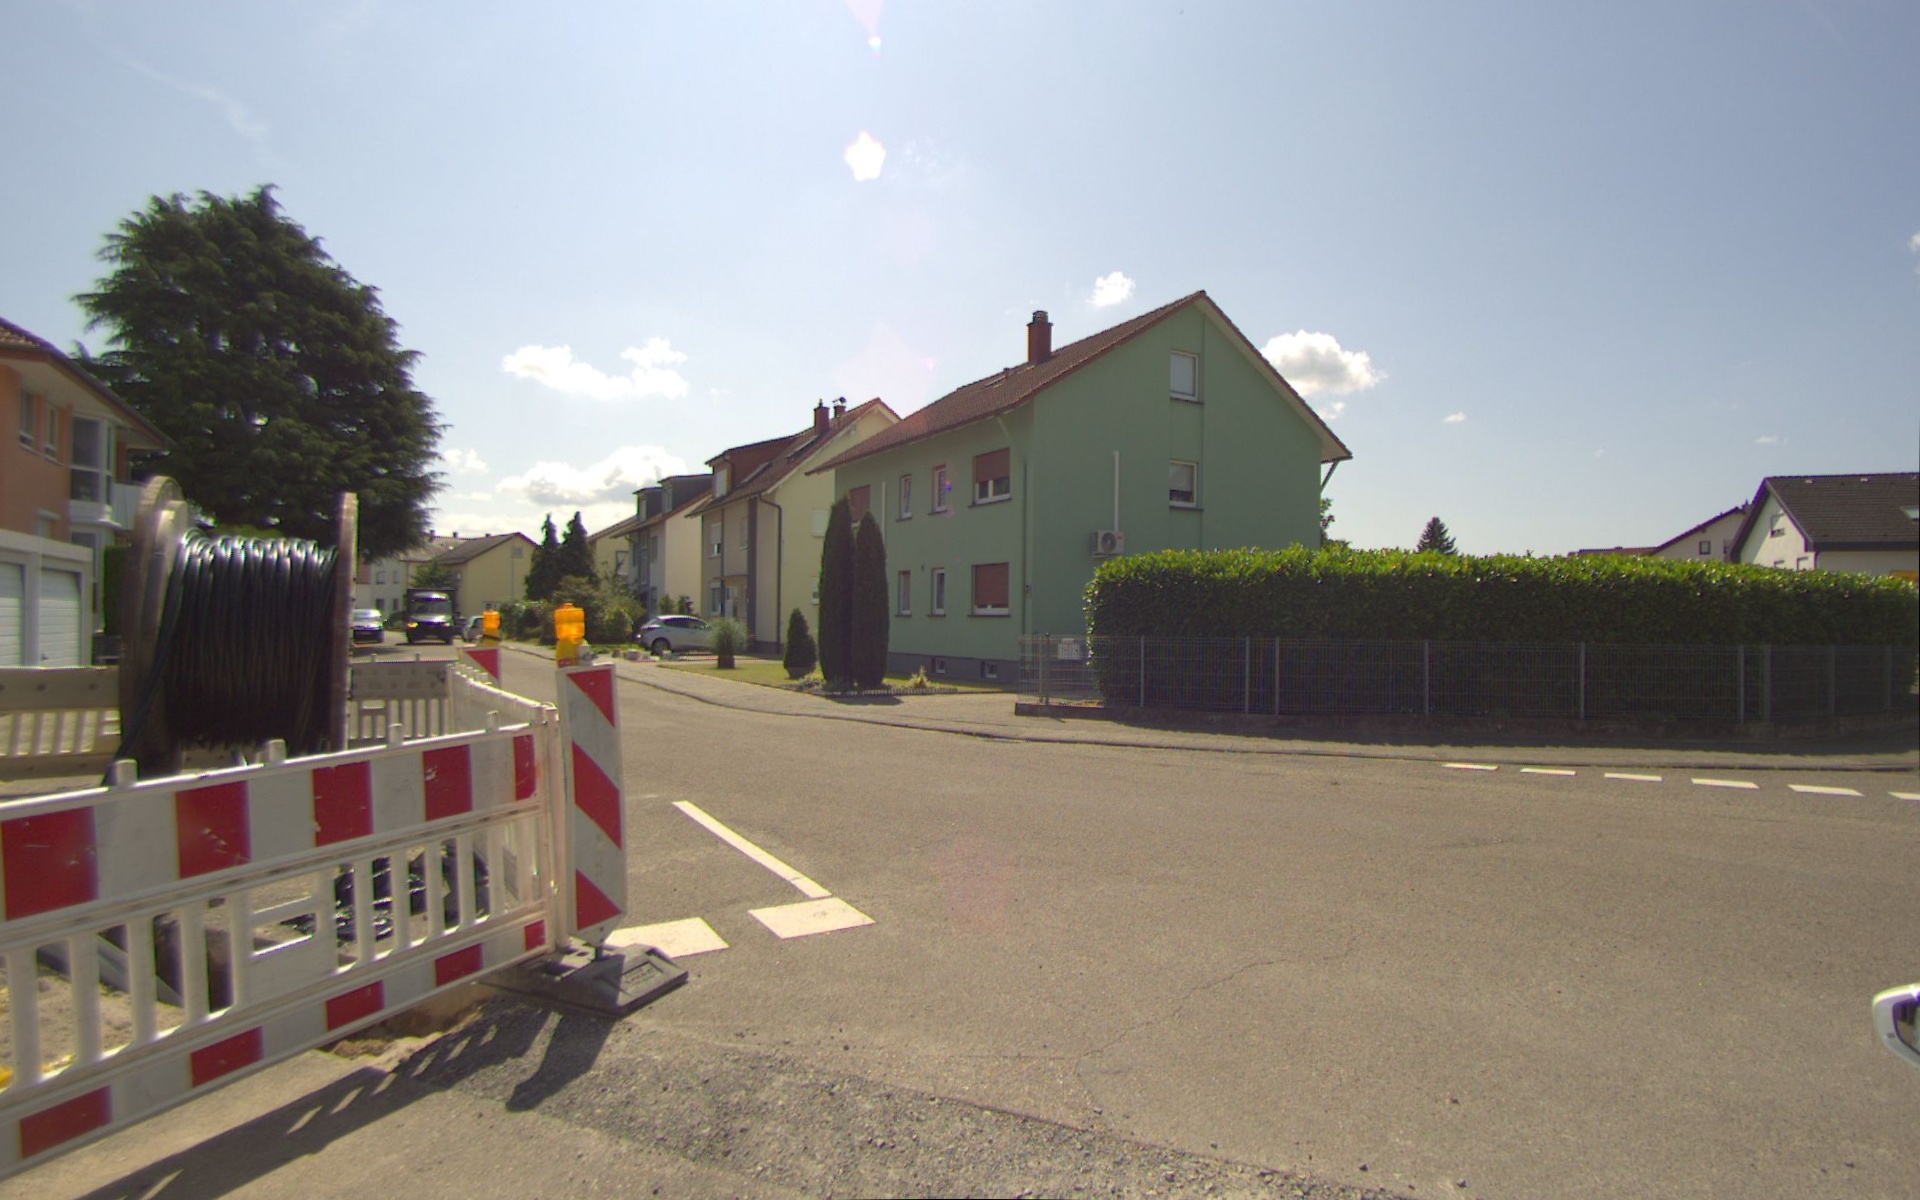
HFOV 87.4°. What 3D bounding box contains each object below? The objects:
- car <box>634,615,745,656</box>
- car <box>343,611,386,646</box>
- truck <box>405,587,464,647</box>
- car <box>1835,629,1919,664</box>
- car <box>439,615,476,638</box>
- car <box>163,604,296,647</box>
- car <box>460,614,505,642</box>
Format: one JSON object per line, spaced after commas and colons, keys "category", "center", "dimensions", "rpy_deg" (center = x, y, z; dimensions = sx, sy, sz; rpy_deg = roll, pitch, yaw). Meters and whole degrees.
{"category": "car", "center": [-10.490, 1.348, 38.972], "dimensions": [3.880, 1.530, 1.760], "rpy_deg": [0, -1, -30]}
{"category": "car", "center": [-31.983, 1.501, 53.880], "dimensions": [1.794, 1.786, 4.168], "rpy_deg": [1, -1, -33]}
{"category": "truck", "center": [-27.029, 0.850, 51.512], "dimensions": [2.412, 2.825, 7.242], "rpy_deg": [-2, 0, -29]}
{"category": "car", "center": [41.065, 2.033, 44.145], "dimensions": [3.540, 1.427, 1.784], "rpy_deg": [0, -1, 21]}
{"category": "car", "center": [-34.050, 1.803, 68.022], "dimensions": [1.795, 1.515, 3.964], "rpy_deg": [1, -1, -33]}
{"category": "car", "center": [-29.863, 1.041, 41.204], "dimensions": [4.154, 1.675, 1.801], "rpy_deg": [1, -1, -28]}
{"category": "car", "center": [-27.260, 1.569, 57.291], "dimensions": [1.795, 1.515, 3.964], "rpy_deg": [1, -1, -33]}
